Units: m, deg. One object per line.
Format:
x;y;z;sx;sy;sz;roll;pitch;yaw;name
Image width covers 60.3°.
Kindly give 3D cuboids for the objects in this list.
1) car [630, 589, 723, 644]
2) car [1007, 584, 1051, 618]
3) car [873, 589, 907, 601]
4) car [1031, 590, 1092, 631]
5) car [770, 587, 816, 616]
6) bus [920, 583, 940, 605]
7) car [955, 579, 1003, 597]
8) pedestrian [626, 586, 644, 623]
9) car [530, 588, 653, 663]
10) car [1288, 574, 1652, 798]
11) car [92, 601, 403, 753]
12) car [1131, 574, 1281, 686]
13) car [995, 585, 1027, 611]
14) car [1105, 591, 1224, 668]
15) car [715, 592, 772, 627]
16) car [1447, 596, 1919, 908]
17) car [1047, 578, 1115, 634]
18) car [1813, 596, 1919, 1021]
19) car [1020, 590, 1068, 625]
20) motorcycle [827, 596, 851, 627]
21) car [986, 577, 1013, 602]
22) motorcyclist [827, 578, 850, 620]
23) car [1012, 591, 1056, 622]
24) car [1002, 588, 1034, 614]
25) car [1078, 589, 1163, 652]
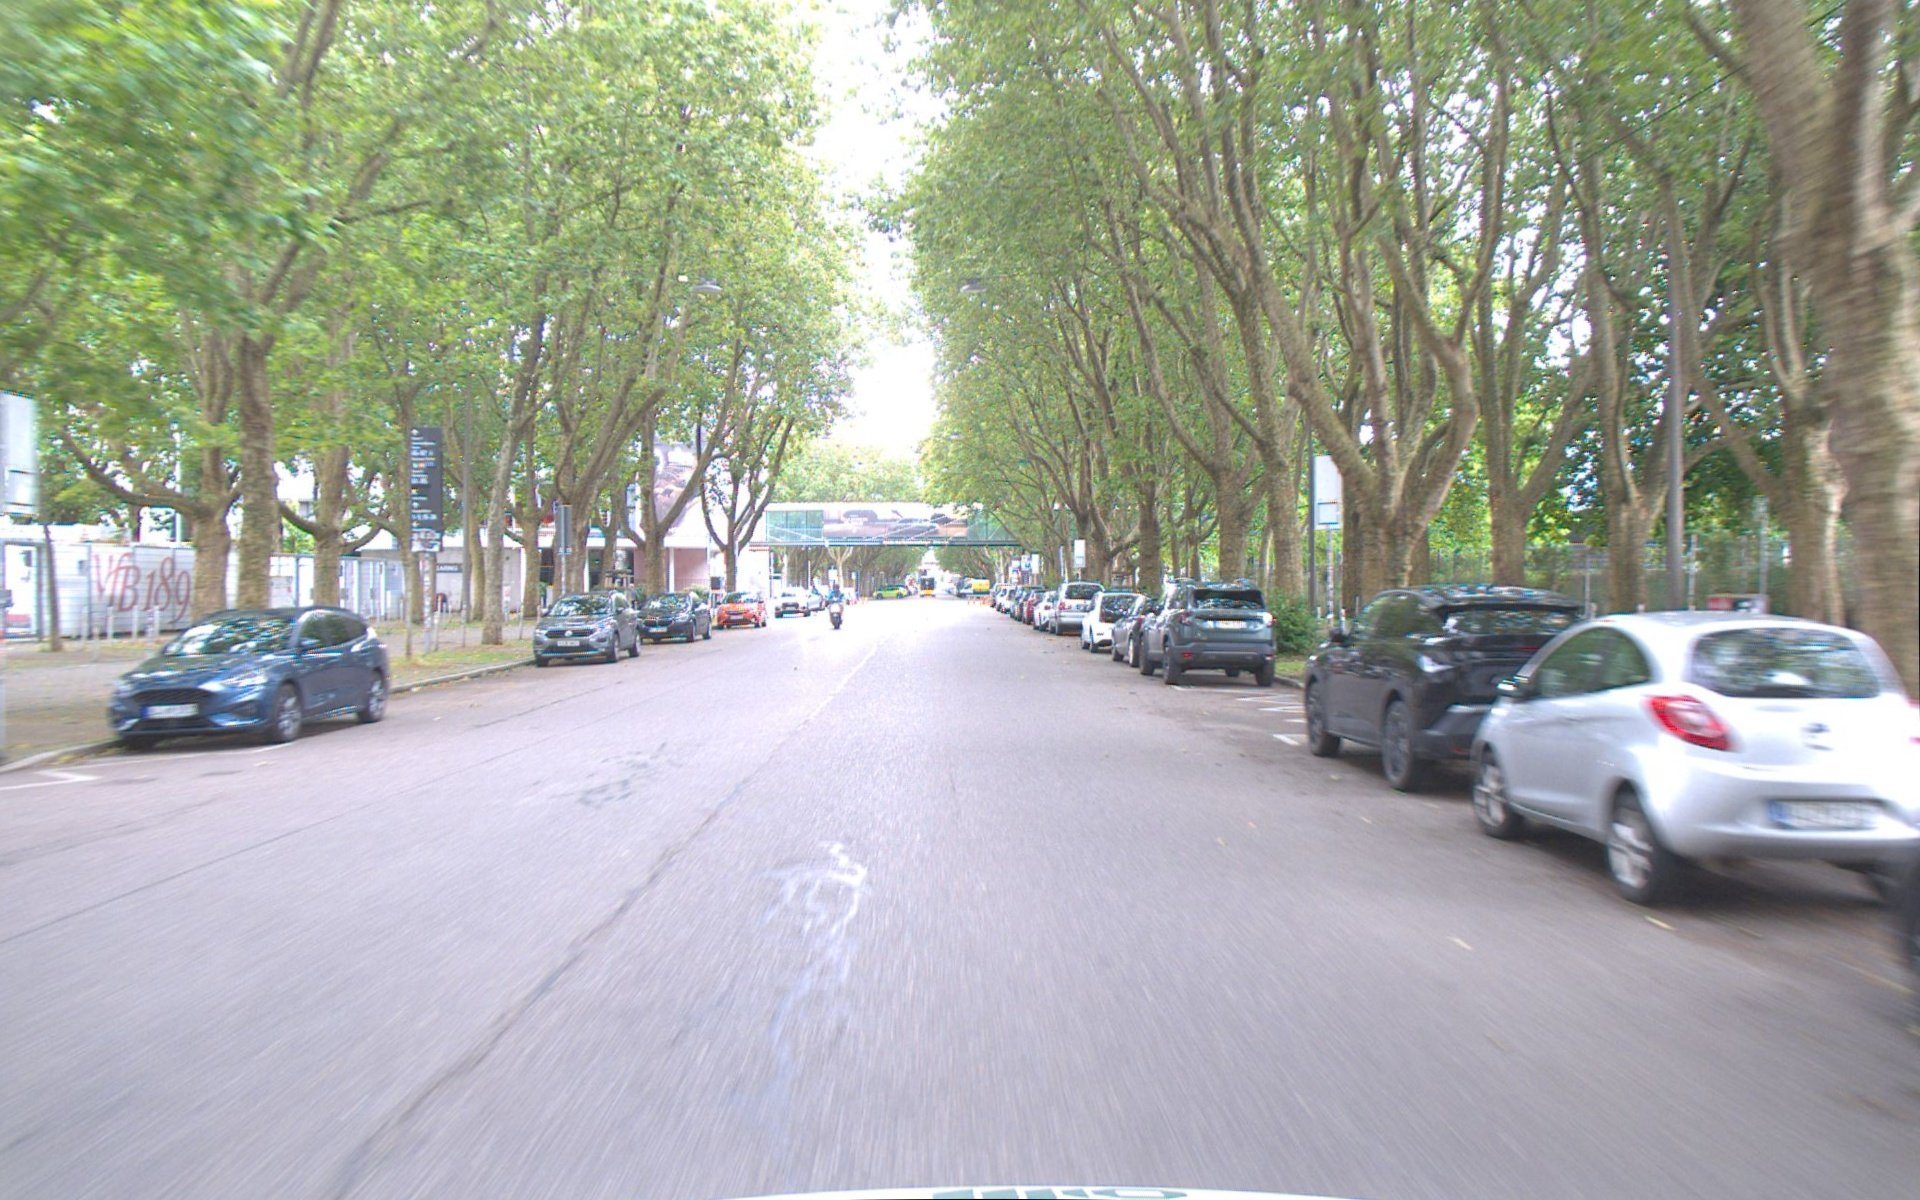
-8.233;0.457;48.458;1.789;1.491;4.628;-1;0;1;car
3.532;0.059;85.206;1.941;1.709;4.730;0;0;-1;car
-9.459;-0.712;224.224;4.604;1.612;1.864;0;0;0;car
3.670;0.349;60.379;1.839;1.452;4.585;0;0;-1;car
-9.149;0.065;90.892;2.031;1.590;4.756;0;0;0;car
-4.739;-0.877;258.047;2.977;3.215;12.673;-2;0;-1;bus
2.641;-1.720;234.431;6.687;2.557;2.315;0;0;-3;car
-14.360;0.188;73.104;0.580;1.648;0.792;0;0;8;pedestrian
-8.210;0.528;37.212;1.840;1.553;4.150;-1;0;-1;car
4.342;0.638;14.893;1.741;1.702;4.636;0;0;-2;car
-8.098;0.795;19.295;1.689;1.512;4.574;0;1;-1;car
4.106;0.457;28.280;1.673;1.728;4.629;1;0;-2;car
3.309;-0.101;107.617;1.875;1.646;4.748;0;0;0;car
4.136;0.563;34.052;1.673;1.440;4.359;1;1;-3;car
-8.684;0.365;66.514;1.771;1.378;4.000;0;0;0;car
4.282;0.747;9.955;1.583;1.466;3.710;2;0;0;car
3.952;0.186;54.724;1.864;1.769;4.506;0;0;-1;car
4.325;0.793;4.562;1.634;1.535;4.353;2;0;-1;car
3.605;0.307;71.634;1.819;1.507;4.176;0;0;-1;car
-4.448;0.409;60.739;0.856;1.098;3.050;0;0;-4;motorcycle
2.977;-0.769;124.355;1.810;1.814;5.210;1;0;-1;car
-4.460;-0.039;60.744;0.853;1.506;1.264;0;0;-4;motorcyclist
3.474;0.289;78.305;1.838;1.452;4.479;0;0;0;car
3.454;0.065;99.789;1.771;1.553;4.095;0;0;0;car
3.929;0.476;41.001;1.672;1.452;3.888;1;0;-1;car
